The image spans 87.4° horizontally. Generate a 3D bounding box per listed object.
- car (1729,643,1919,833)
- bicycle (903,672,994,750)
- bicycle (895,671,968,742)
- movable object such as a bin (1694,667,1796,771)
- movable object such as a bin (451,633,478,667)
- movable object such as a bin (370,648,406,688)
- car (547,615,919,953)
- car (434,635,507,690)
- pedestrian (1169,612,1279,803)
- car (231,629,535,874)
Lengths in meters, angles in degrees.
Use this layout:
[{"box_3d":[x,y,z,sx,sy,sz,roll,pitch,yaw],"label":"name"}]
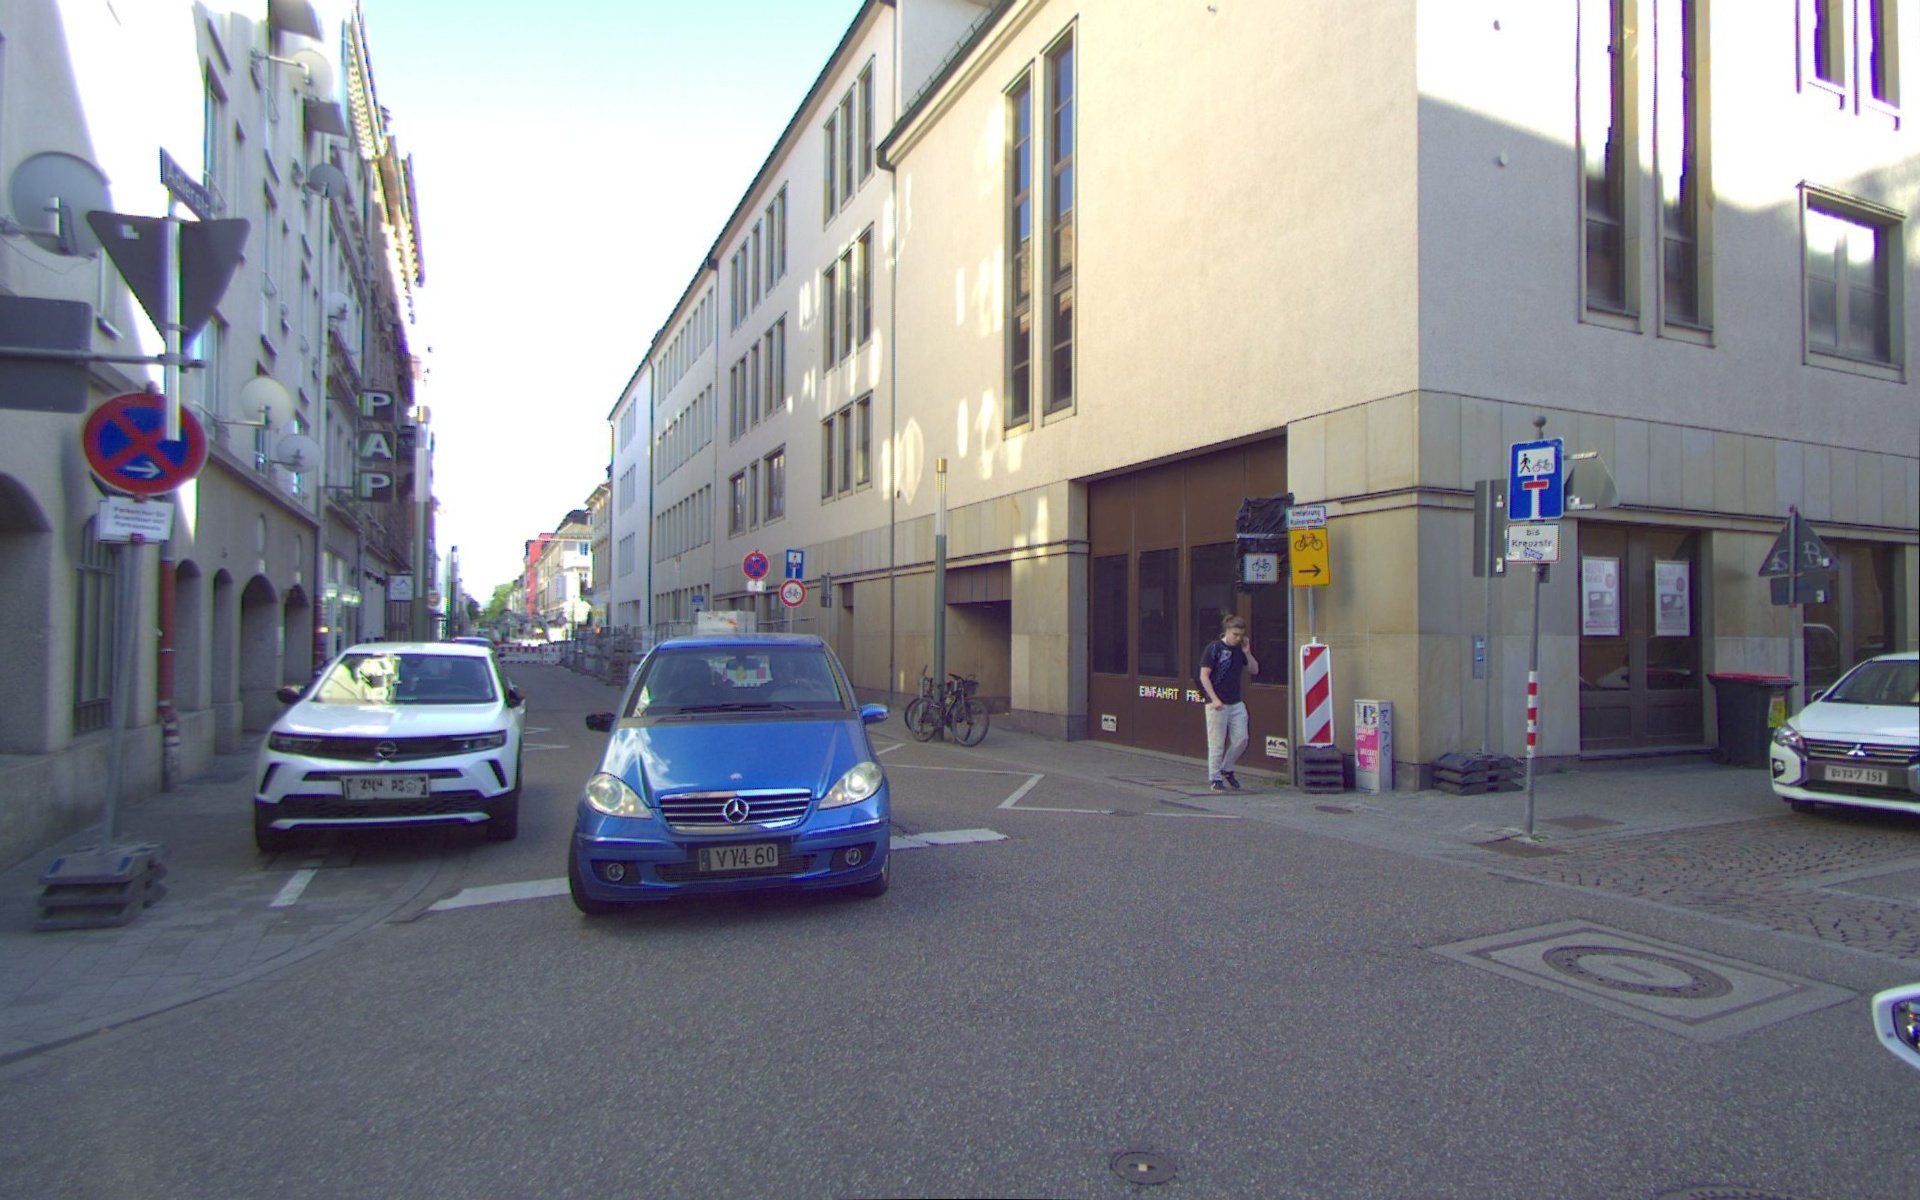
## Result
[{"box_3d":[9.109,1.158,9.241,3.750,1.511,1.732,1,-4,-27],"label":"car"},{"box_3d":[-0.200,1.675,15.379,0.300,1.064,1.770,1,-2,-41],"label":"bicycle"},{"box_3d":[-0.481,1.719,16.481,0.300,1.064,1.524,1,-2,-41],"label":"bicycle"},{"box_3d":[9.115,1.361,11.672,0.583,1.115,0.734,2,0,-25],"label":"movable object such as a bin"},{"box_3d":[-23.704,2.387,48.018,1.071,1.564,0.901,3,-3,-29],"label":"movable object such as a bin"},{"box_3d":[-16.023,1.894,28.130,0.828,1.062,0.748,2,0,-31],"label":"movable object such as a bin"},{"box_3d":[-1.529,0.970,6.988,1.825,1.614,3.798,-1,-2,-12],"label":"car"},{"box_3d":[-15.062,1.882,30.834,1.772,1.545,3.970,3,-3,-29],"label":"car"},{"box_3d":[2.734,1.089,10.439,0.710,1.878,0.853,3,-4,-37],"label":"pedestrian"},{"box_3d":[-4.732,1.097,8.814,1.718,1.614,3.949,2,-3,-22],"label":"car"}]
